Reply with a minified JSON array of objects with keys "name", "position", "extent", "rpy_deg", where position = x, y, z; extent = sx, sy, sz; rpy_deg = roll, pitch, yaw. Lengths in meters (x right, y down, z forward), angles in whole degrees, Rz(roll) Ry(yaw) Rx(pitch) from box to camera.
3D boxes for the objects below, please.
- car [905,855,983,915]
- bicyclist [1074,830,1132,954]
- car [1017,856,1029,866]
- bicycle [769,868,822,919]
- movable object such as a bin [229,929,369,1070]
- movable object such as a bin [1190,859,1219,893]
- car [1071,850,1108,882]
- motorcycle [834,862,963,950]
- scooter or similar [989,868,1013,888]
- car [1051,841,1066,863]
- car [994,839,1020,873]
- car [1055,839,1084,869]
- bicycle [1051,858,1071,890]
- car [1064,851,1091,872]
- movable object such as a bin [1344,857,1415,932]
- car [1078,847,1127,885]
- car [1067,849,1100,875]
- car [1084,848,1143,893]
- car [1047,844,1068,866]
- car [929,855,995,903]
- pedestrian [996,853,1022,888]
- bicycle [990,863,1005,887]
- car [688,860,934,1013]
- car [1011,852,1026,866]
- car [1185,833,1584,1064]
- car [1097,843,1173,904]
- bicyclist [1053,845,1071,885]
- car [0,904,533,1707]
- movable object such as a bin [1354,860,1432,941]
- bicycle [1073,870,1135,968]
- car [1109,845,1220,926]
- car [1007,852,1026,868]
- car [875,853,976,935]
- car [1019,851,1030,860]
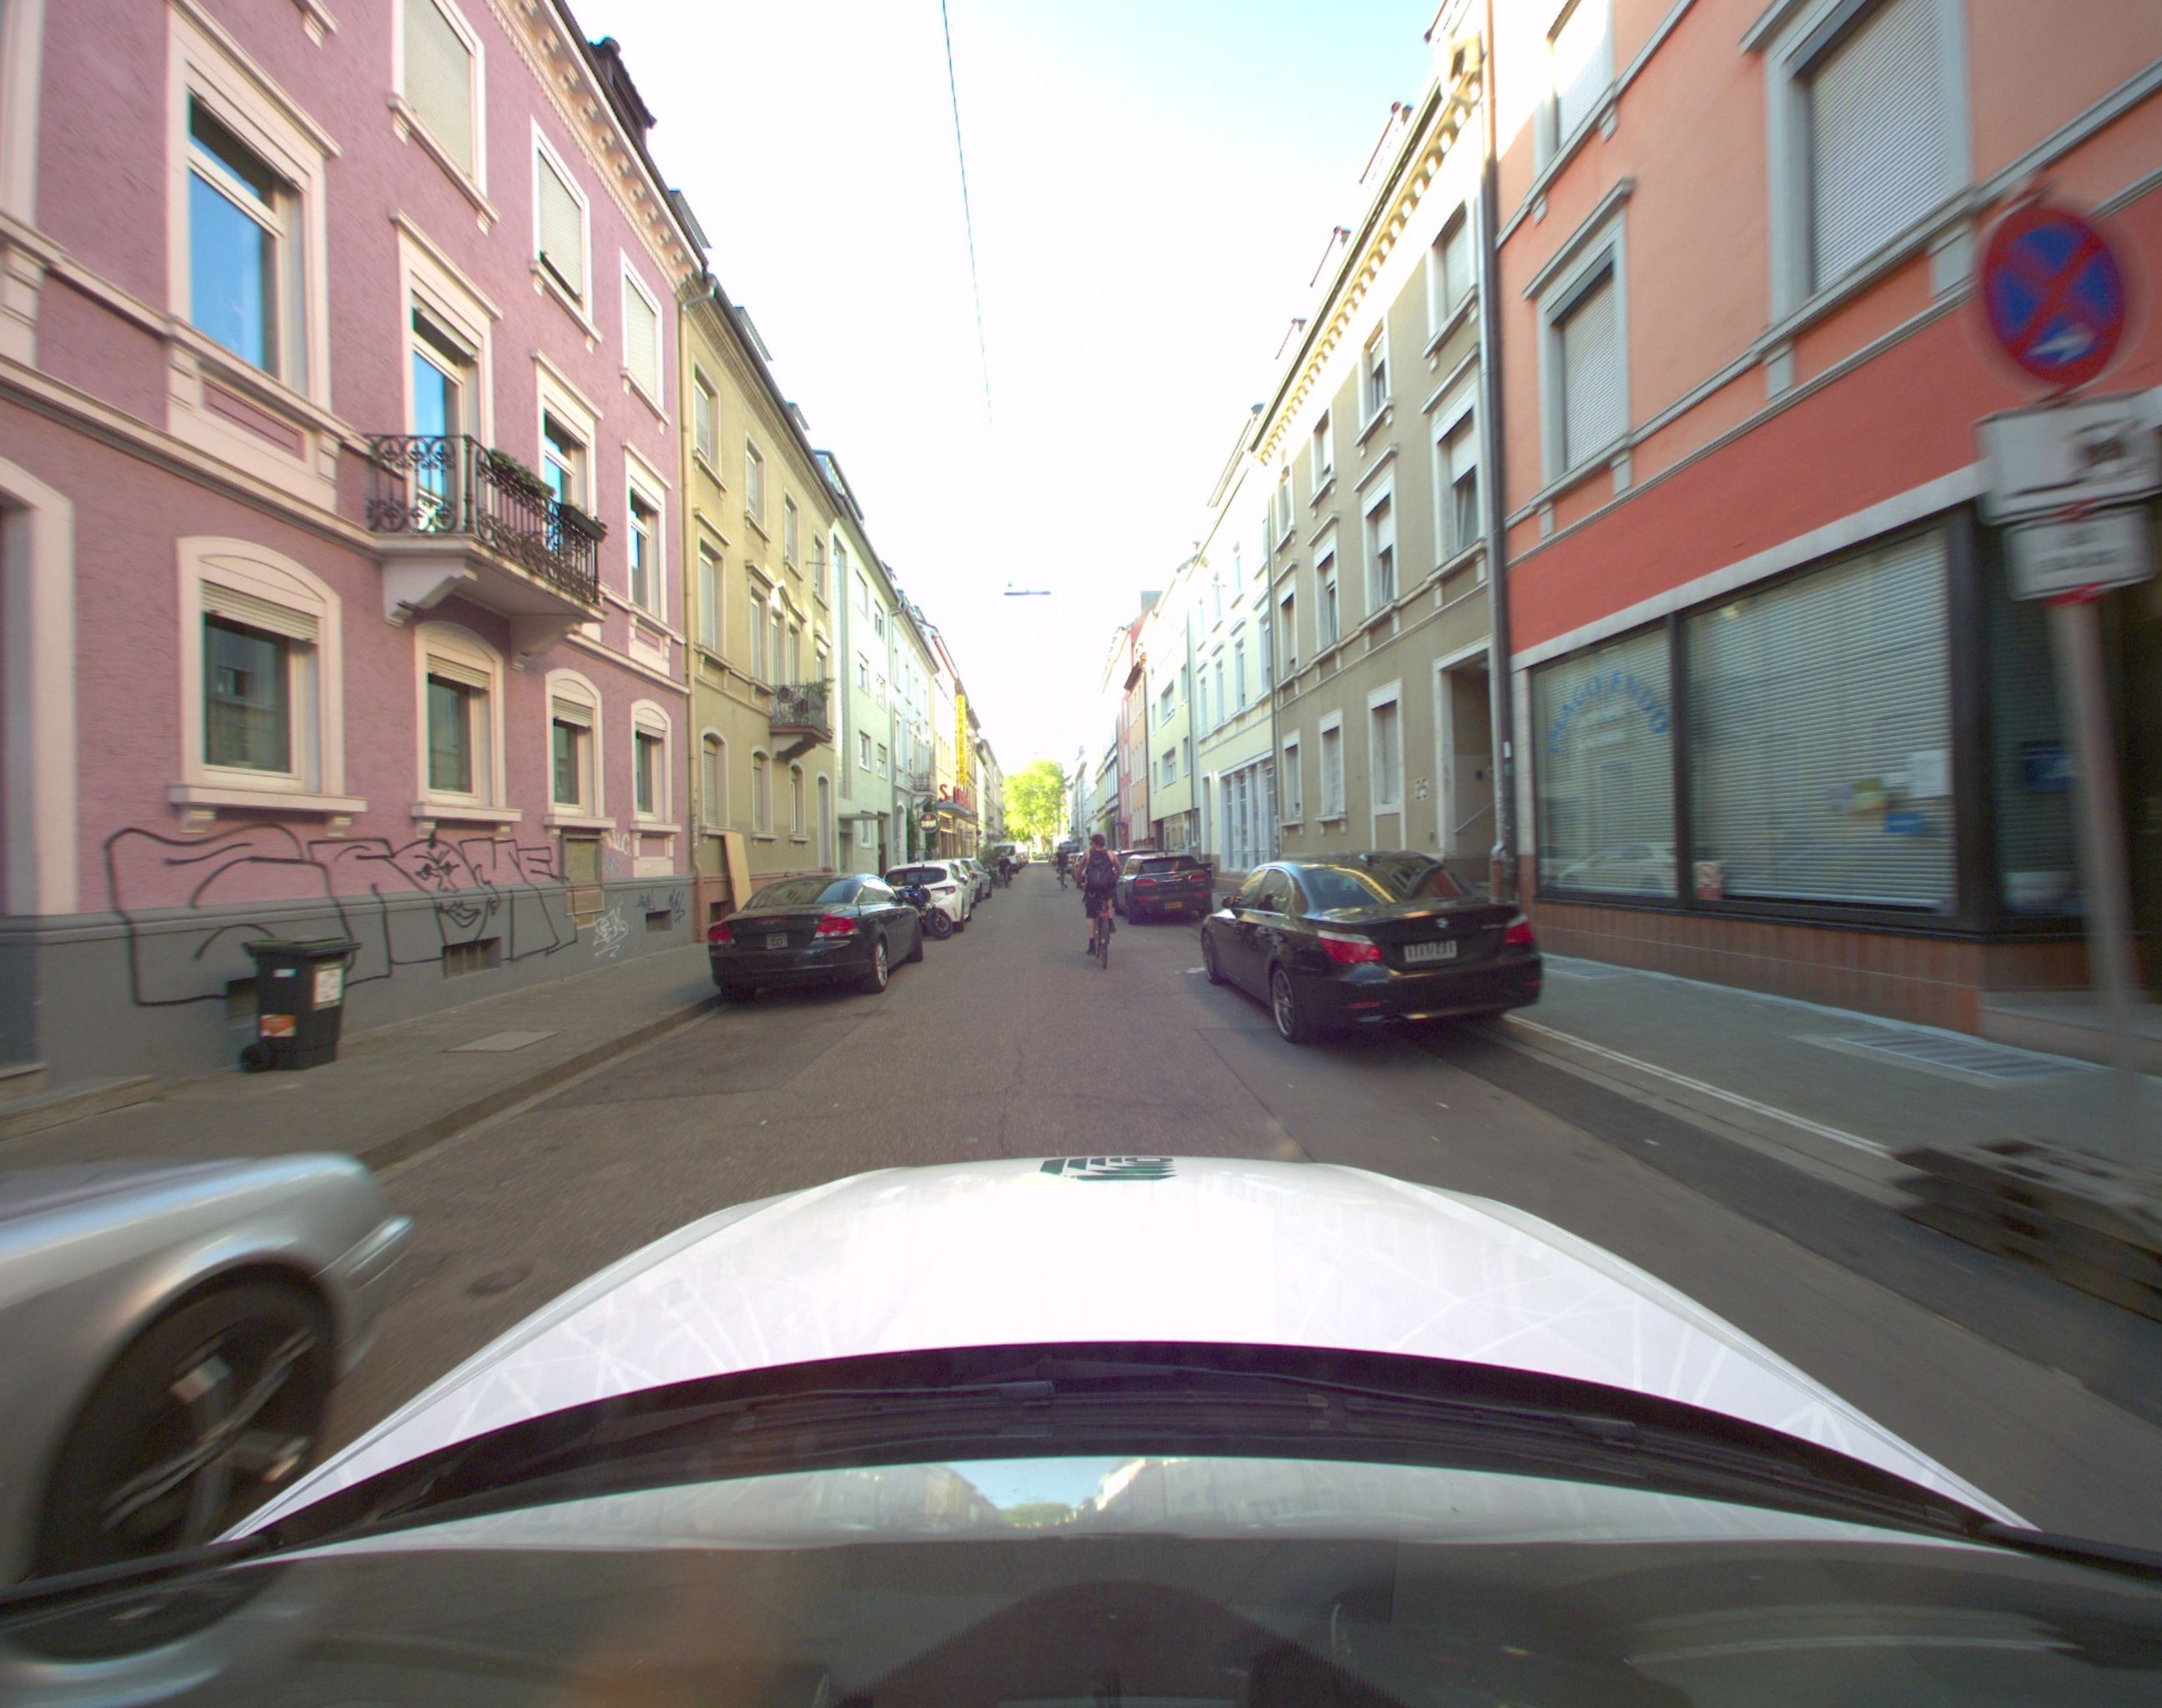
[{"name":"car","position":[-3.776,0.812,23.015],"extent":[1.668,1.441,3.763],"rpy_deg":[-4,0,-3]},{"name":"bicyclist","position":[0.286,0.505,11.271],"extent":[0.700,1.633,1.089],"rpy_deg":[0,-1,-3]},{"name":"car","position":[-8.594,1.049,120.462],"extent":[1.668,1.441,4.160],"rpy_deg":[-4,0,-3]},{"name":"bicycle","position":[-6.538,0.873,18.750],"extent":[0.591,1.089,2.077],"rpy_deg":[0,0,-3]},{"name":"movable object such as a bin","position":[-5.719,1.045,5.981],"extent":[0.542,0.945,0.487],"rpy_deg":[0,-1,-3]},{"name":"movable object such as a bin","position":[4.088,0.725,27.053],"extent":[0.804,1.075,0.678],"rpy_deg":[-4,0,1]},{"name":"car","position":[0.419,0.640,44.134],"extent":[1.617,1.550,3.995],"rpy_deg":[-4,0,-3]},{"name":"motorcycle","position":[-3.329,0.916,14.893],"extent":[2.155,1.359,0.536],"rpy_deg":[-5,1,-22]},{"name":"scooter or similar","position":[-3.680,1.109,37.488],"extent":[0.774,0.873,0.764],"rpy_deg":[0,-1,-39]},{"name":"car","position":[-4.145,-0.392,149.253],"extent":[2.303,3.767,6.761],"rpy_deg":[-4,0,-3]},{"name":"car","position":[-5.886,0.141,64.870],"extent":[1.906,2.496,4.158],"rpy_deg":[-2,0,-5]},{"name":"car","position":[-1.109,0.050,76.550],"extent":[2.303,2.537,6.761],"rpy_deg":[-4,0,-3]},{"name":"bicycle","position":[-0.827,0.808,33.326],"extent":[0.700,1.208,2.339],"rpy_deg":[0,1,-3]},{"name":"car","position":[-0.302,0.562,61.120],"extent":[1.707,1.447,3.995],"rpy_deg":[-4,0,-3]},{"name":"movable object such as a bin","position":[4.678,0.620,12.786],"extent":[0.804,1.075,0.678],"rpy_deg":[-4,0,1]},{"name":"car","position":[0.857,0.487,34.494],"extent":[1.707,1.383,3.995],"rpy_deg":[-4,0,-3]},{"name":"car","position":[0.142,0.499,49.575],"extent":[1.707,1.393,3.995],"rpy_deg":[-4,0,-3]},{"name":"car","position":[1.109,0.569,29.530],"extent":[1.707,1.383,3.995],"rpy_deg":[-4,0,-3]},{"name":"car","position":[-2.996,0.196,101.899],"extent":[2.303,2.537,6.761],"rpy_deg":[-4,0,-3]},{"name":"car","position":[-4.015,0.816,28.036],"extent":[1.667,1.441,3.752],"rpy_deg":[-4,0,0]},{"name":"pedestrian","position":[-3.349,0.766,37.781],"extent":[0.905,1.578,0.764],"rpy_deg":[0,-1,-39]},{"name":"bicycle","position":[-4.081,0.998,39.684],"extent":[0.699,1.105,2.269],"rpy_deg":[0,0,-7]},{"name":"car","position":[-3.130,0.858,10.460],"extent":[1.705,1.383,4.354],"rpy_deg":[-2,1,-1]},{"name":"car","position":[-7.482,0.593,97.761],"extent":[1.668,1.441,4.160],"rpy_deg":[-4,0,-3]},{"name":"car","position":[2.386,0.650,7.926],"extent":[1.813,1.438,4.785],"rpy_deg":[-4,0,-3]},{"name":"car","position":[1.518,0.533,24.250],"extent":[1.707,1.556,3.995],"rpy_deg":[-4,0,-3]},{"name":"bicyclist","position":[-0.782,0.422,33.325],"extent":[0.700,1.605,0.812],"rpy_deg":[0,1,-4]},{"name":"car","position":[-2.651,0.900,0.488],"extent":[1.707,1.383,4.500],"rpy_deg":[-4,0,-3]},{"name":"movable object such as a bin","position":[4.455,0.650,11.674],"extent":[0.736,1.075,0.675],"rpy_deg":[-4,0,-10]},{"name":"bicycle","position":[0.280,0.849,11.518],"extent":[0.700,1.208,2.339],"rpy_deg":[0,0,-3]},{"name":"car","position":[1.764,0.659,18.493],"extent":[1.813,1.521,3.995],"rpy_deg":[-4,0,-3]},{"name":"car","position":[-6.245,0.581,79.262],"extent":[1.668,1.441,4.160],"rpy_deg":[-4,0,-3]},{"name":"car","position":[-3.230,0.783,17.640],"extent":[1.670,1.441,4.157],"rpy_deg":[-4,0,-5]},{"name":"car","position":[-9.231,0.282,133.018],"extent":[1.668,1.441,4.160],"rpy_deg":[-4,0,-3]}]
